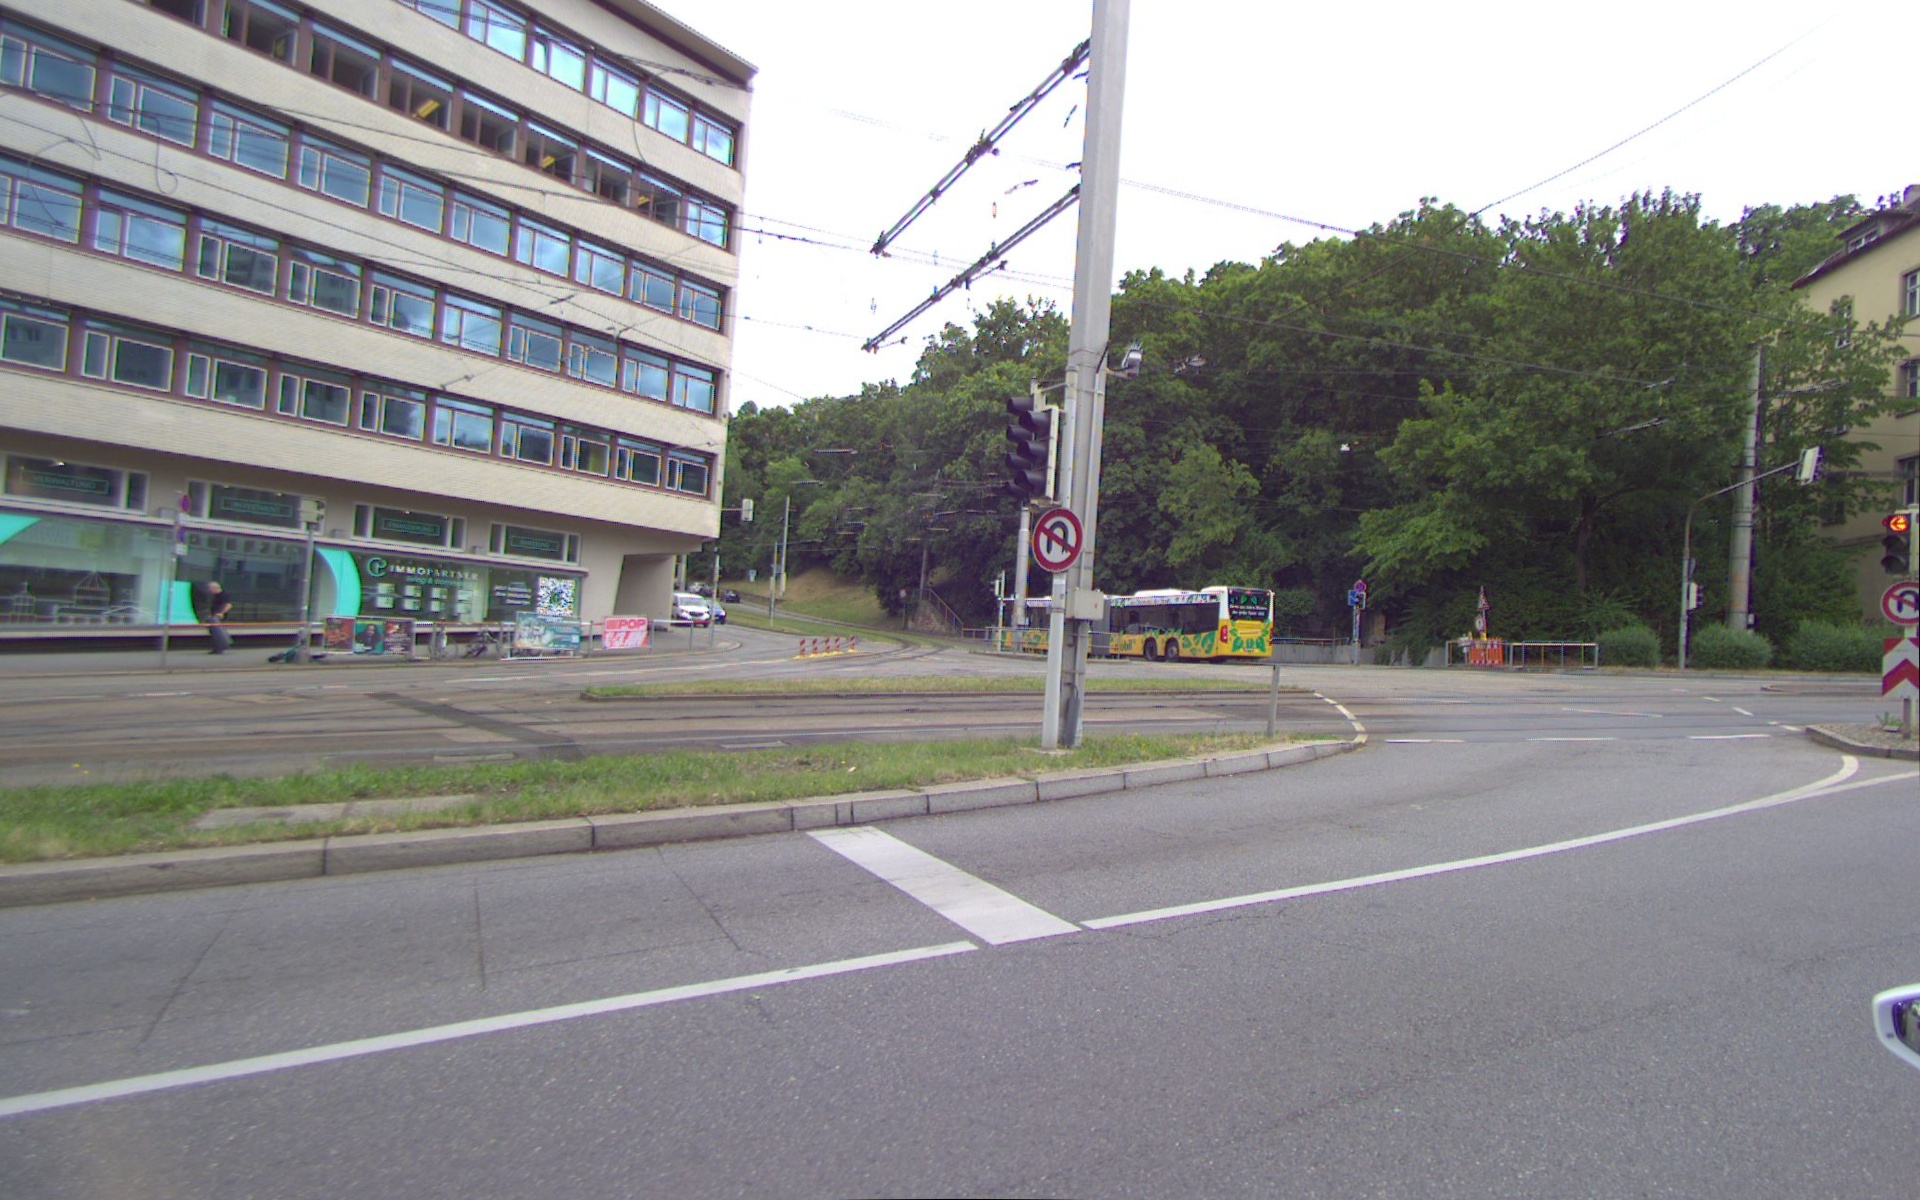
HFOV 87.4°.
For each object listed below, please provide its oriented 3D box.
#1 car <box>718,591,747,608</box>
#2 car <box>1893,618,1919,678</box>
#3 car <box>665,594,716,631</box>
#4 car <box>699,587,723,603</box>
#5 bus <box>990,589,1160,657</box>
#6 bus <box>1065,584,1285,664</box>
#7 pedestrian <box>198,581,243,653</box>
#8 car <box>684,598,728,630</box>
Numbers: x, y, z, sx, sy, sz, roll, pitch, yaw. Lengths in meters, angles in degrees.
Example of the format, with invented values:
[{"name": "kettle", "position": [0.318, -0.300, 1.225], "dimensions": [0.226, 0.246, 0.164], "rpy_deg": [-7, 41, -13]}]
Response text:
[{"name": "car", "position": [-25.651, -0.019, 113.137], "dimensions": [2.397, 1.862, 3.974], "rpy_deg": [1, -1, -26]}, {"name": "car", "position": [32.105, 1.527, 30.766], "dimensions": [4.891, 1.874, 2.001], "rpy_deg": [1, 0, 9]}, {"name": "car", "position": [-15.631, 0.708, 58.201], "dimensions": [1.976, 2.040, 3.970], "rpy_deg": [1, -1, -29]}, {"name": "car", "position": [-30.321, -0.568, 122.227], "dimensions": [1.974, 1.862, 3.974], "rpy_deg": [1, -1, -26]}, {"name": "bus", "position": [5.550, 1.171, 51.779], "dimensions": [3.280, 3.084, 11.291], "rpy_deg": [1, -1, -25]}, {"name": "bus", "position": [9.010, 1.026, 44.379], "dimensions": [3.344, 3.069, 11.479], "rpy_deg": [1, -1, -24]}, {"name": "pedestrian", "position": [-18.106, 0.417, 24.597], "dimensions": [0.779, 1.730, 0.750], "rpy_deg": [1, -1, -45]}, {"name": "car", "position": [-16.766, 0.921, 66.168], "dimensions": [1.974, 2.040, 3.973], "rpy_deg": [1, -1, -26]}]
